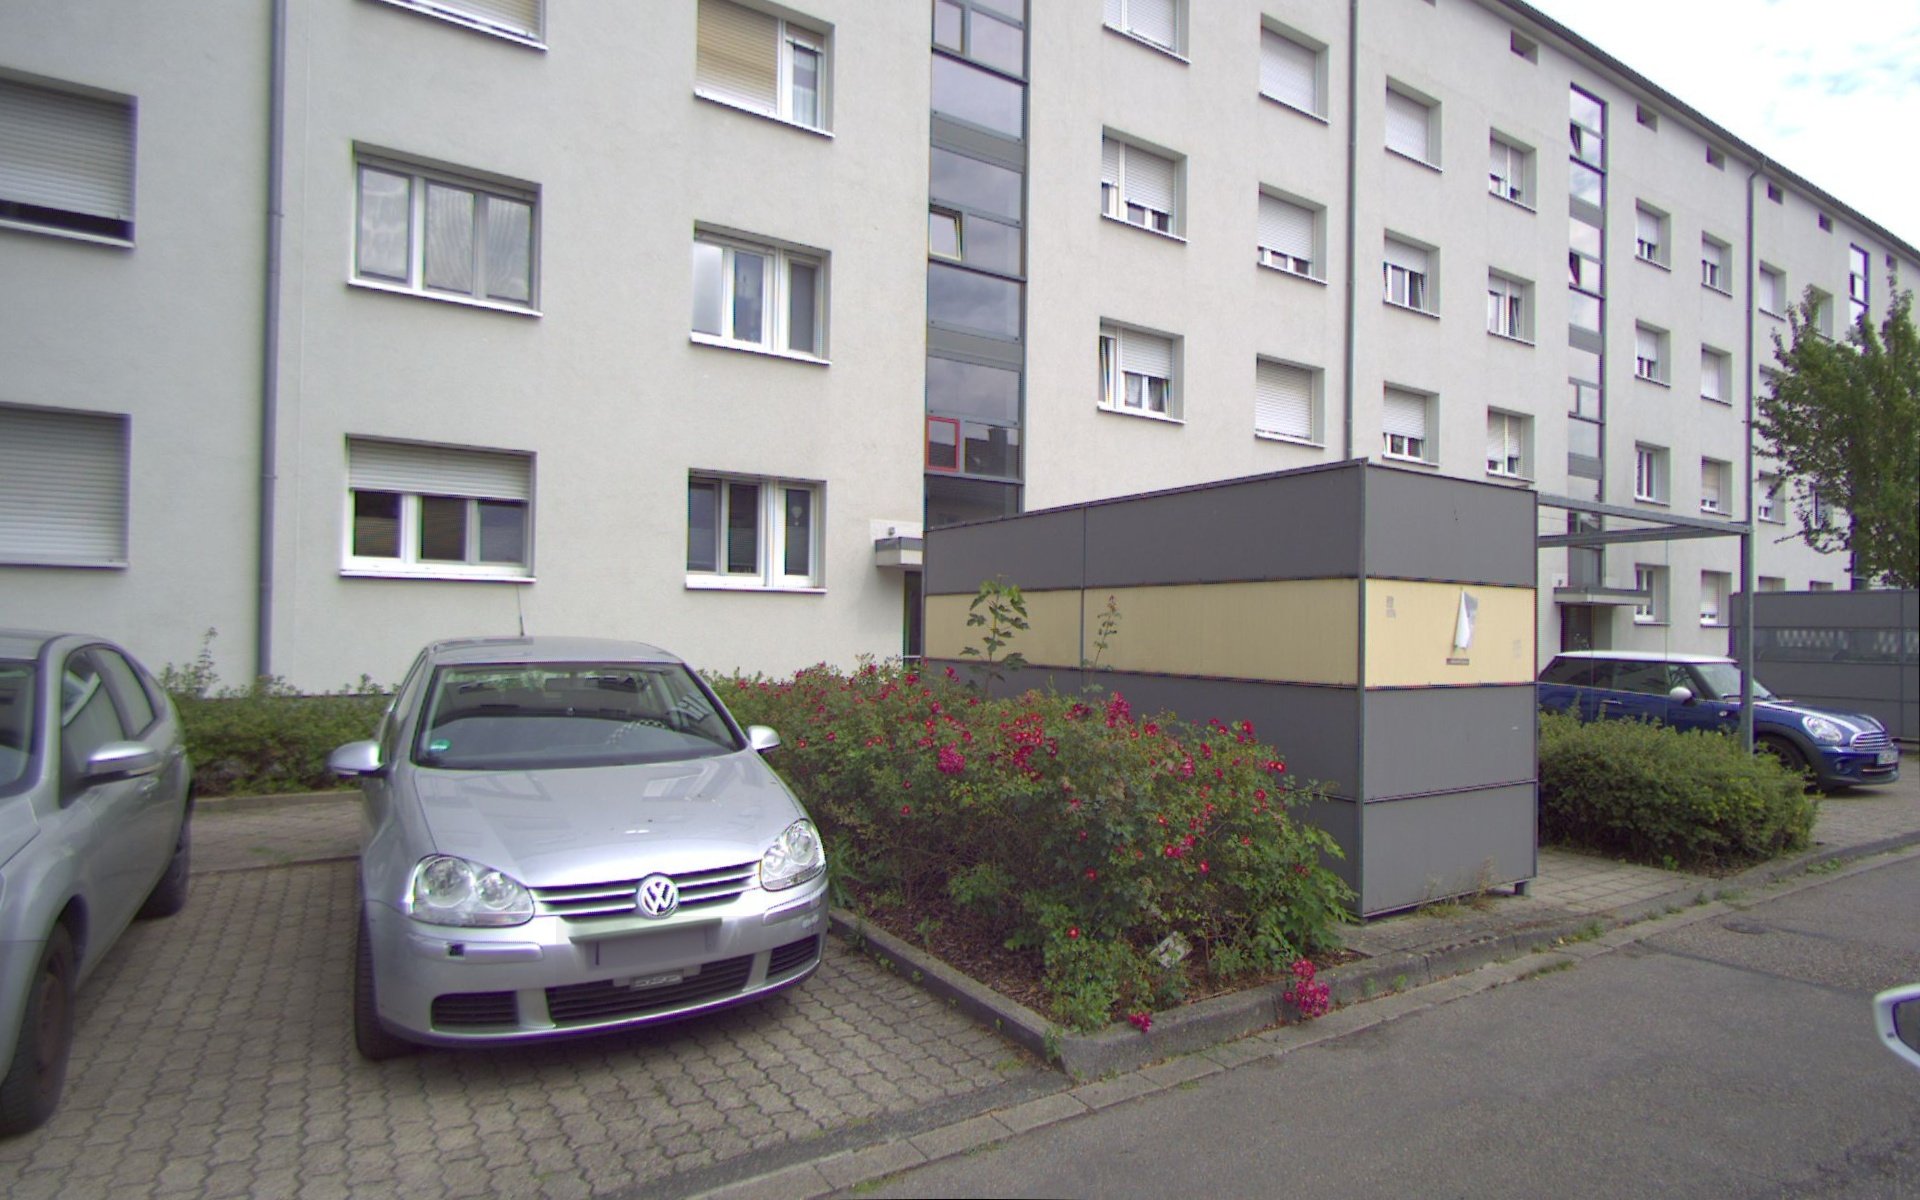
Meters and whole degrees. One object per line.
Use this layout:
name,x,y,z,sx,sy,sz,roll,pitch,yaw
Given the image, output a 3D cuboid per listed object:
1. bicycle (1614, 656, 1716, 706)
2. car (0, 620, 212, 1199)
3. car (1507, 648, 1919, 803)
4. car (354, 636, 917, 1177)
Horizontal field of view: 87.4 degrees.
bicycle,15.566,1.772,22.202,1.775,1.038,0.479,0,-1,18
car,-4.066,0.853,3.630,1.762,1.525,4.031,2,-3,-31
car,8.621,1.315,11.746,1.632,1.480,3.621,2,-3,-28
car,-1.950,0.932,4.975,1.762,1.483,4.031,2,-3,-31
